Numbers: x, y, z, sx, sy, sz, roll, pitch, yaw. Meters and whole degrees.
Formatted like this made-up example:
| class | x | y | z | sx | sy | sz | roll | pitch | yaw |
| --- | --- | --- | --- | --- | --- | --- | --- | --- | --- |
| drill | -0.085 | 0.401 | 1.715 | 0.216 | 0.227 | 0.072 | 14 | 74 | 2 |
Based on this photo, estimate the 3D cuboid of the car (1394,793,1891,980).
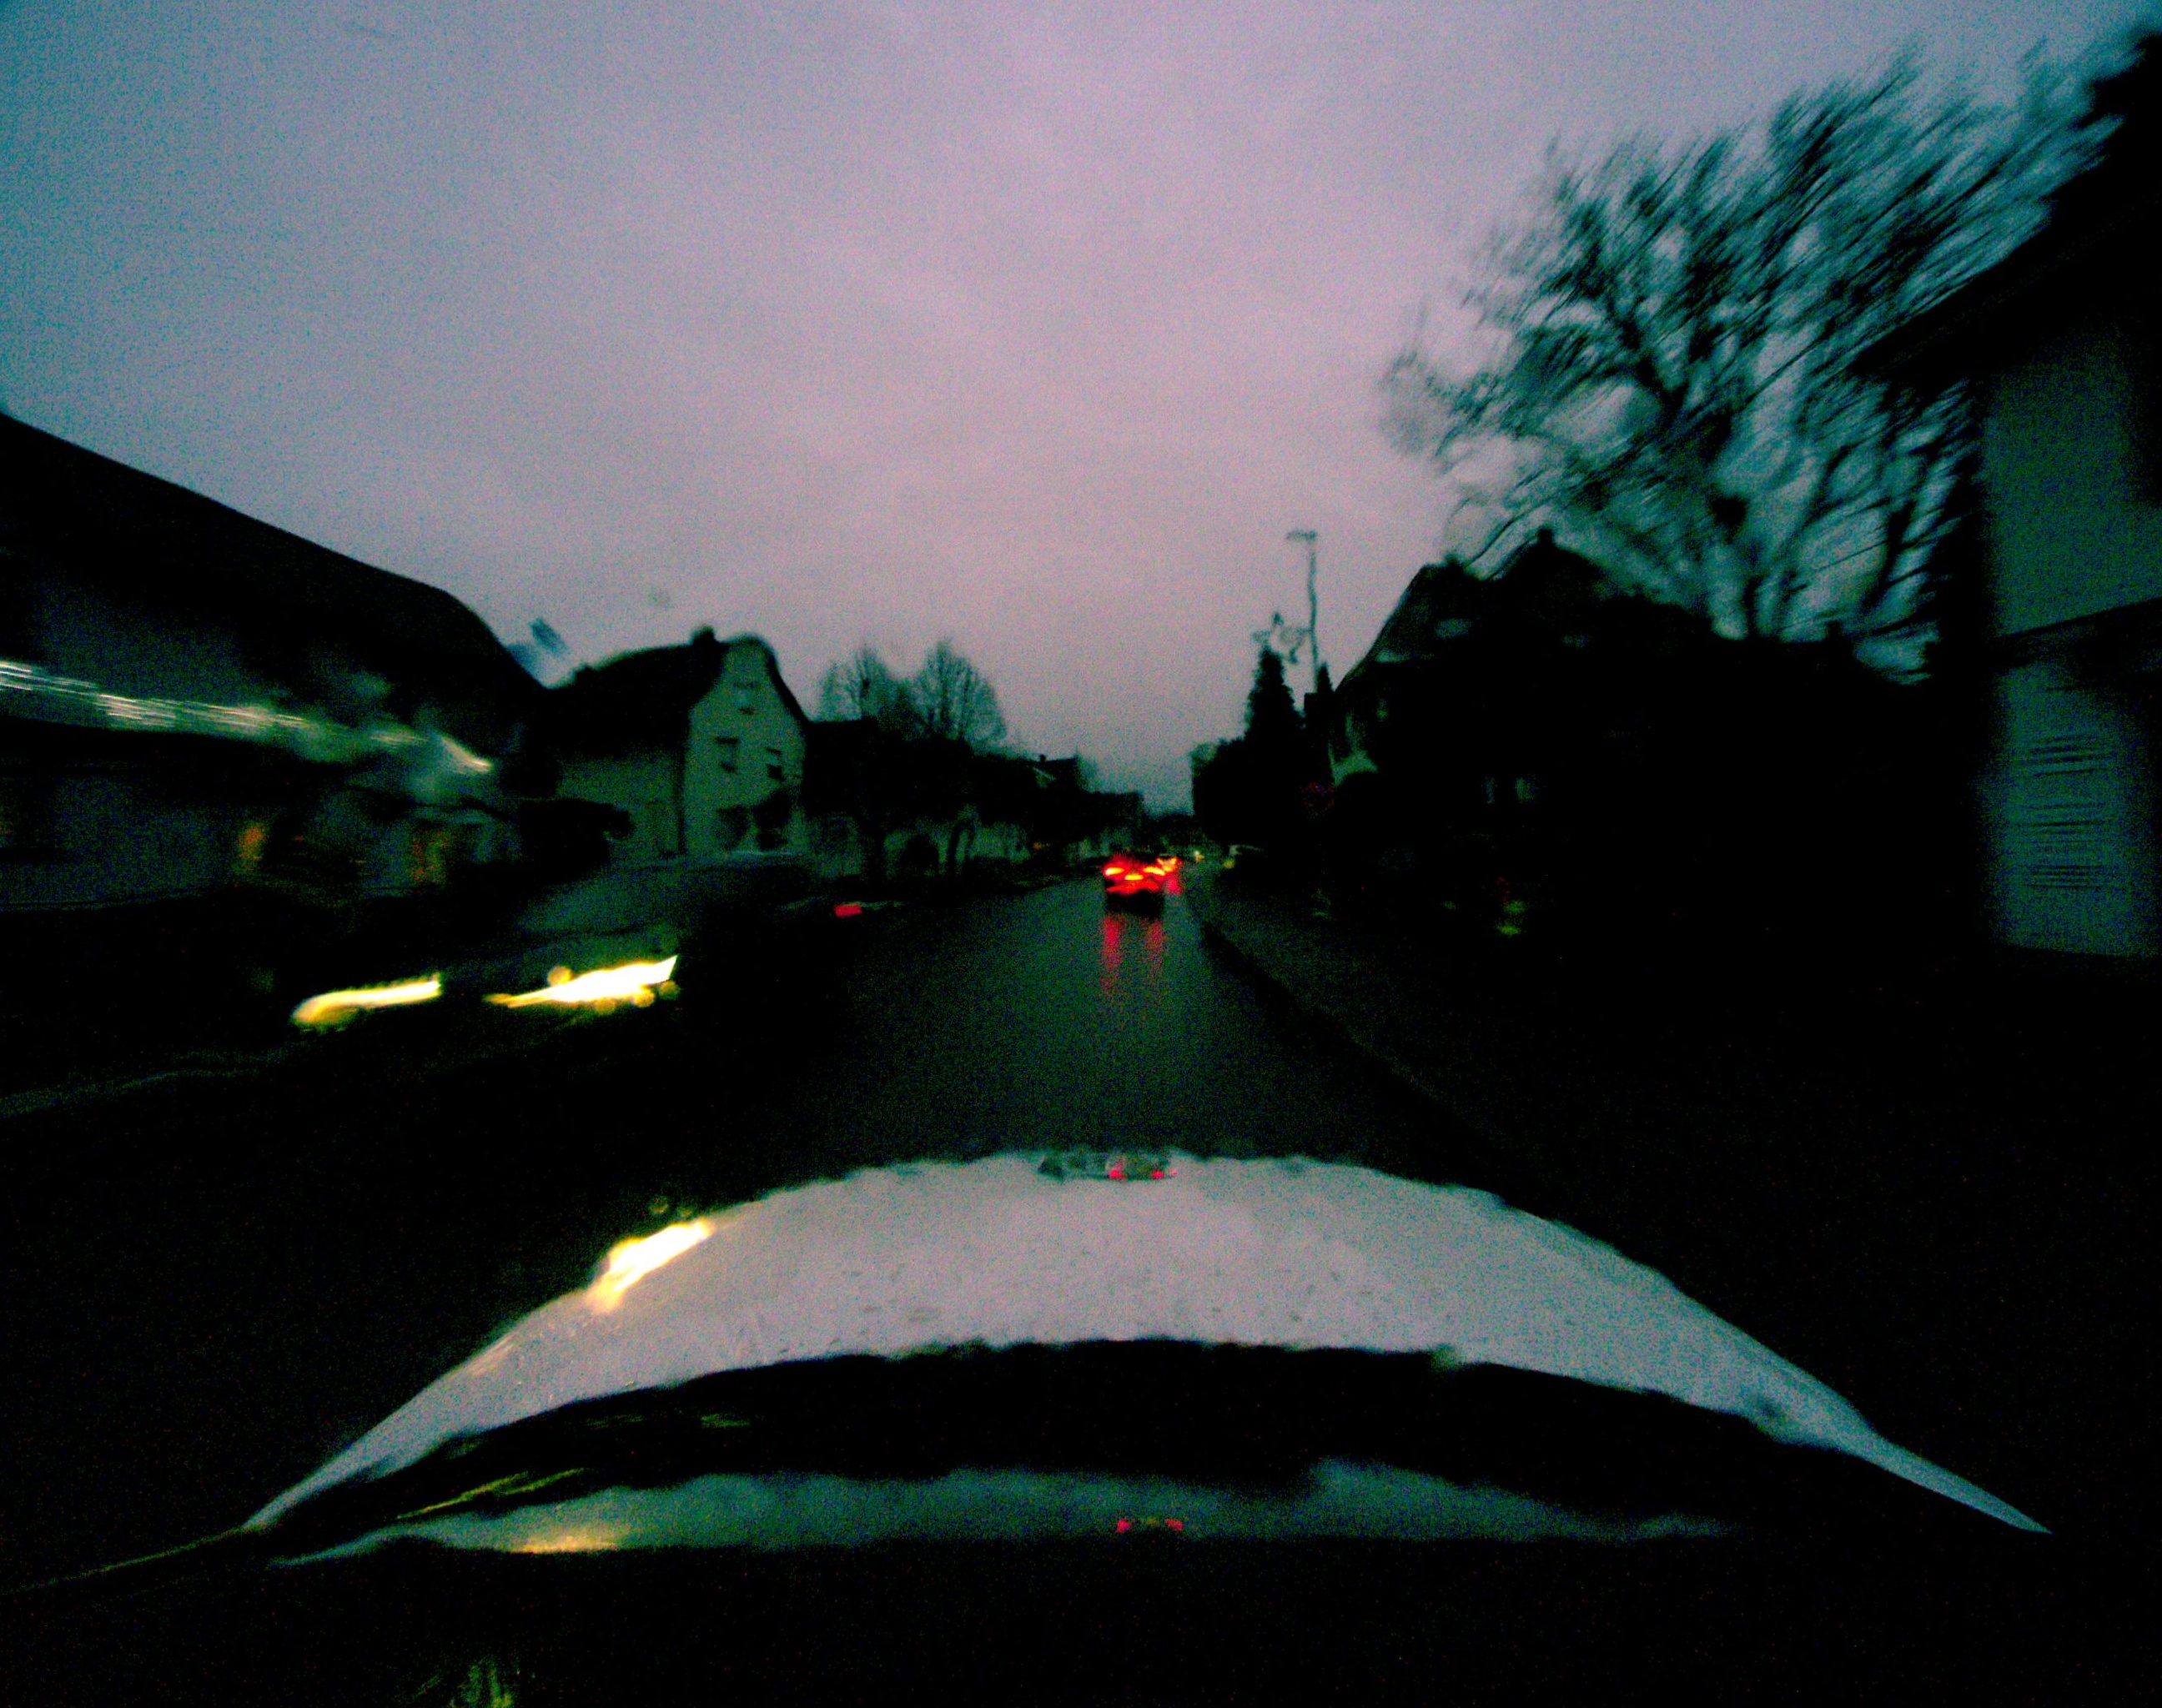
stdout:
| class | x | y | z | sx | sy | sz | roll | pitch | yaw |
| --- | --- | --- | --- | --- | --- | --- | --- | --- | --- |
| car | 5.922 | 0.338 | 9.061 | 4.086 | 1.706 | 2.001 | -2 | -1 | 1 |

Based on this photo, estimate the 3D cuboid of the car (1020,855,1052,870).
| class | x | y | z | sx | sy | sz | roll | pitch | yaw |
| --- | --- | --- | --- | --- | --- | --- | --- | --- | --- |
| car | -4.137 | 0.746 | 75.463 | 1.768 | 1.366 | 4.016 | -1 | 0 | 16 |

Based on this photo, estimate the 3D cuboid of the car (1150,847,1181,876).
| class | x | y | z | sx | sy | sz | roll | pitch | yaw |
| --- | --- | --- | --- | --- | --- | --- | --- | --- | --- |
| car | 6.157 | 0.542 | 58.888 | 1.981 | 2.014 | 4.011 | -1 | 0 | 10 |

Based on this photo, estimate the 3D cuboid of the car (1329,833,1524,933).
| class | x | y | z | sx | sy | sz | roll | pitch | yaw |
| --- | --- | --- | --- | --- | --- | --- | --- | --- | --- |
| car | 6.276 | 0.457 | 15.478 | 1.885 | 1.554 | 4.759 | -2 | 0 | 3 |

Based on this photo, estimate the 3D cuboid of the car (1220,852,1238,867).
| class | x | y | z | sx | sy | sz | roll | pitch | yaw |
| --- | --- | --- | --- | --- | --- | --- | --- | --- | --- |
| car | 16.069 | 0.609 | 88.204 | 1.637 | 1.540 | 3.404 | -2 | 0 | 15 |

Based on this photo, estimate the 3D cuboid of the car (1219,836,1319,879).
| class | x | y | z | sx | sy | sz | roll | pitch | yaw |
| --- | --- | --- | --- | --- | --- | --- | --- | --- | --- |
| car | 8.884 | 0.165 | 38.774 | 4.305 | 1.732 | 2.002 | -4 | 0 | 3 |

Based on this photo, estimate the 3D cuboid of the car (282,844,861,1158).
| class | x | y | z | sx | sy | sz | roll | pitch | yaw |
| --- | --- | --- | --- | --- | --- | --- | --- | --- | --- |
| car | -3.362 | 0.801 | 6.562 | 1.807 | 1.633 | 4.227 | -3 | 0 | 2 |

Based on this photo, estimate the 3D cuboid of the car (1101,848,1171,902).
| class | x | y | z | sx | sy | sz | roll | pitch | yaw |
| --- | --- | --- | --- | --- | --- | --- | --- | --- | --- |
| car | 1.630 | 0.614 | 25.482 | 1.986 | 1.525 | 4.001 | -1 | 0 | 1 |
